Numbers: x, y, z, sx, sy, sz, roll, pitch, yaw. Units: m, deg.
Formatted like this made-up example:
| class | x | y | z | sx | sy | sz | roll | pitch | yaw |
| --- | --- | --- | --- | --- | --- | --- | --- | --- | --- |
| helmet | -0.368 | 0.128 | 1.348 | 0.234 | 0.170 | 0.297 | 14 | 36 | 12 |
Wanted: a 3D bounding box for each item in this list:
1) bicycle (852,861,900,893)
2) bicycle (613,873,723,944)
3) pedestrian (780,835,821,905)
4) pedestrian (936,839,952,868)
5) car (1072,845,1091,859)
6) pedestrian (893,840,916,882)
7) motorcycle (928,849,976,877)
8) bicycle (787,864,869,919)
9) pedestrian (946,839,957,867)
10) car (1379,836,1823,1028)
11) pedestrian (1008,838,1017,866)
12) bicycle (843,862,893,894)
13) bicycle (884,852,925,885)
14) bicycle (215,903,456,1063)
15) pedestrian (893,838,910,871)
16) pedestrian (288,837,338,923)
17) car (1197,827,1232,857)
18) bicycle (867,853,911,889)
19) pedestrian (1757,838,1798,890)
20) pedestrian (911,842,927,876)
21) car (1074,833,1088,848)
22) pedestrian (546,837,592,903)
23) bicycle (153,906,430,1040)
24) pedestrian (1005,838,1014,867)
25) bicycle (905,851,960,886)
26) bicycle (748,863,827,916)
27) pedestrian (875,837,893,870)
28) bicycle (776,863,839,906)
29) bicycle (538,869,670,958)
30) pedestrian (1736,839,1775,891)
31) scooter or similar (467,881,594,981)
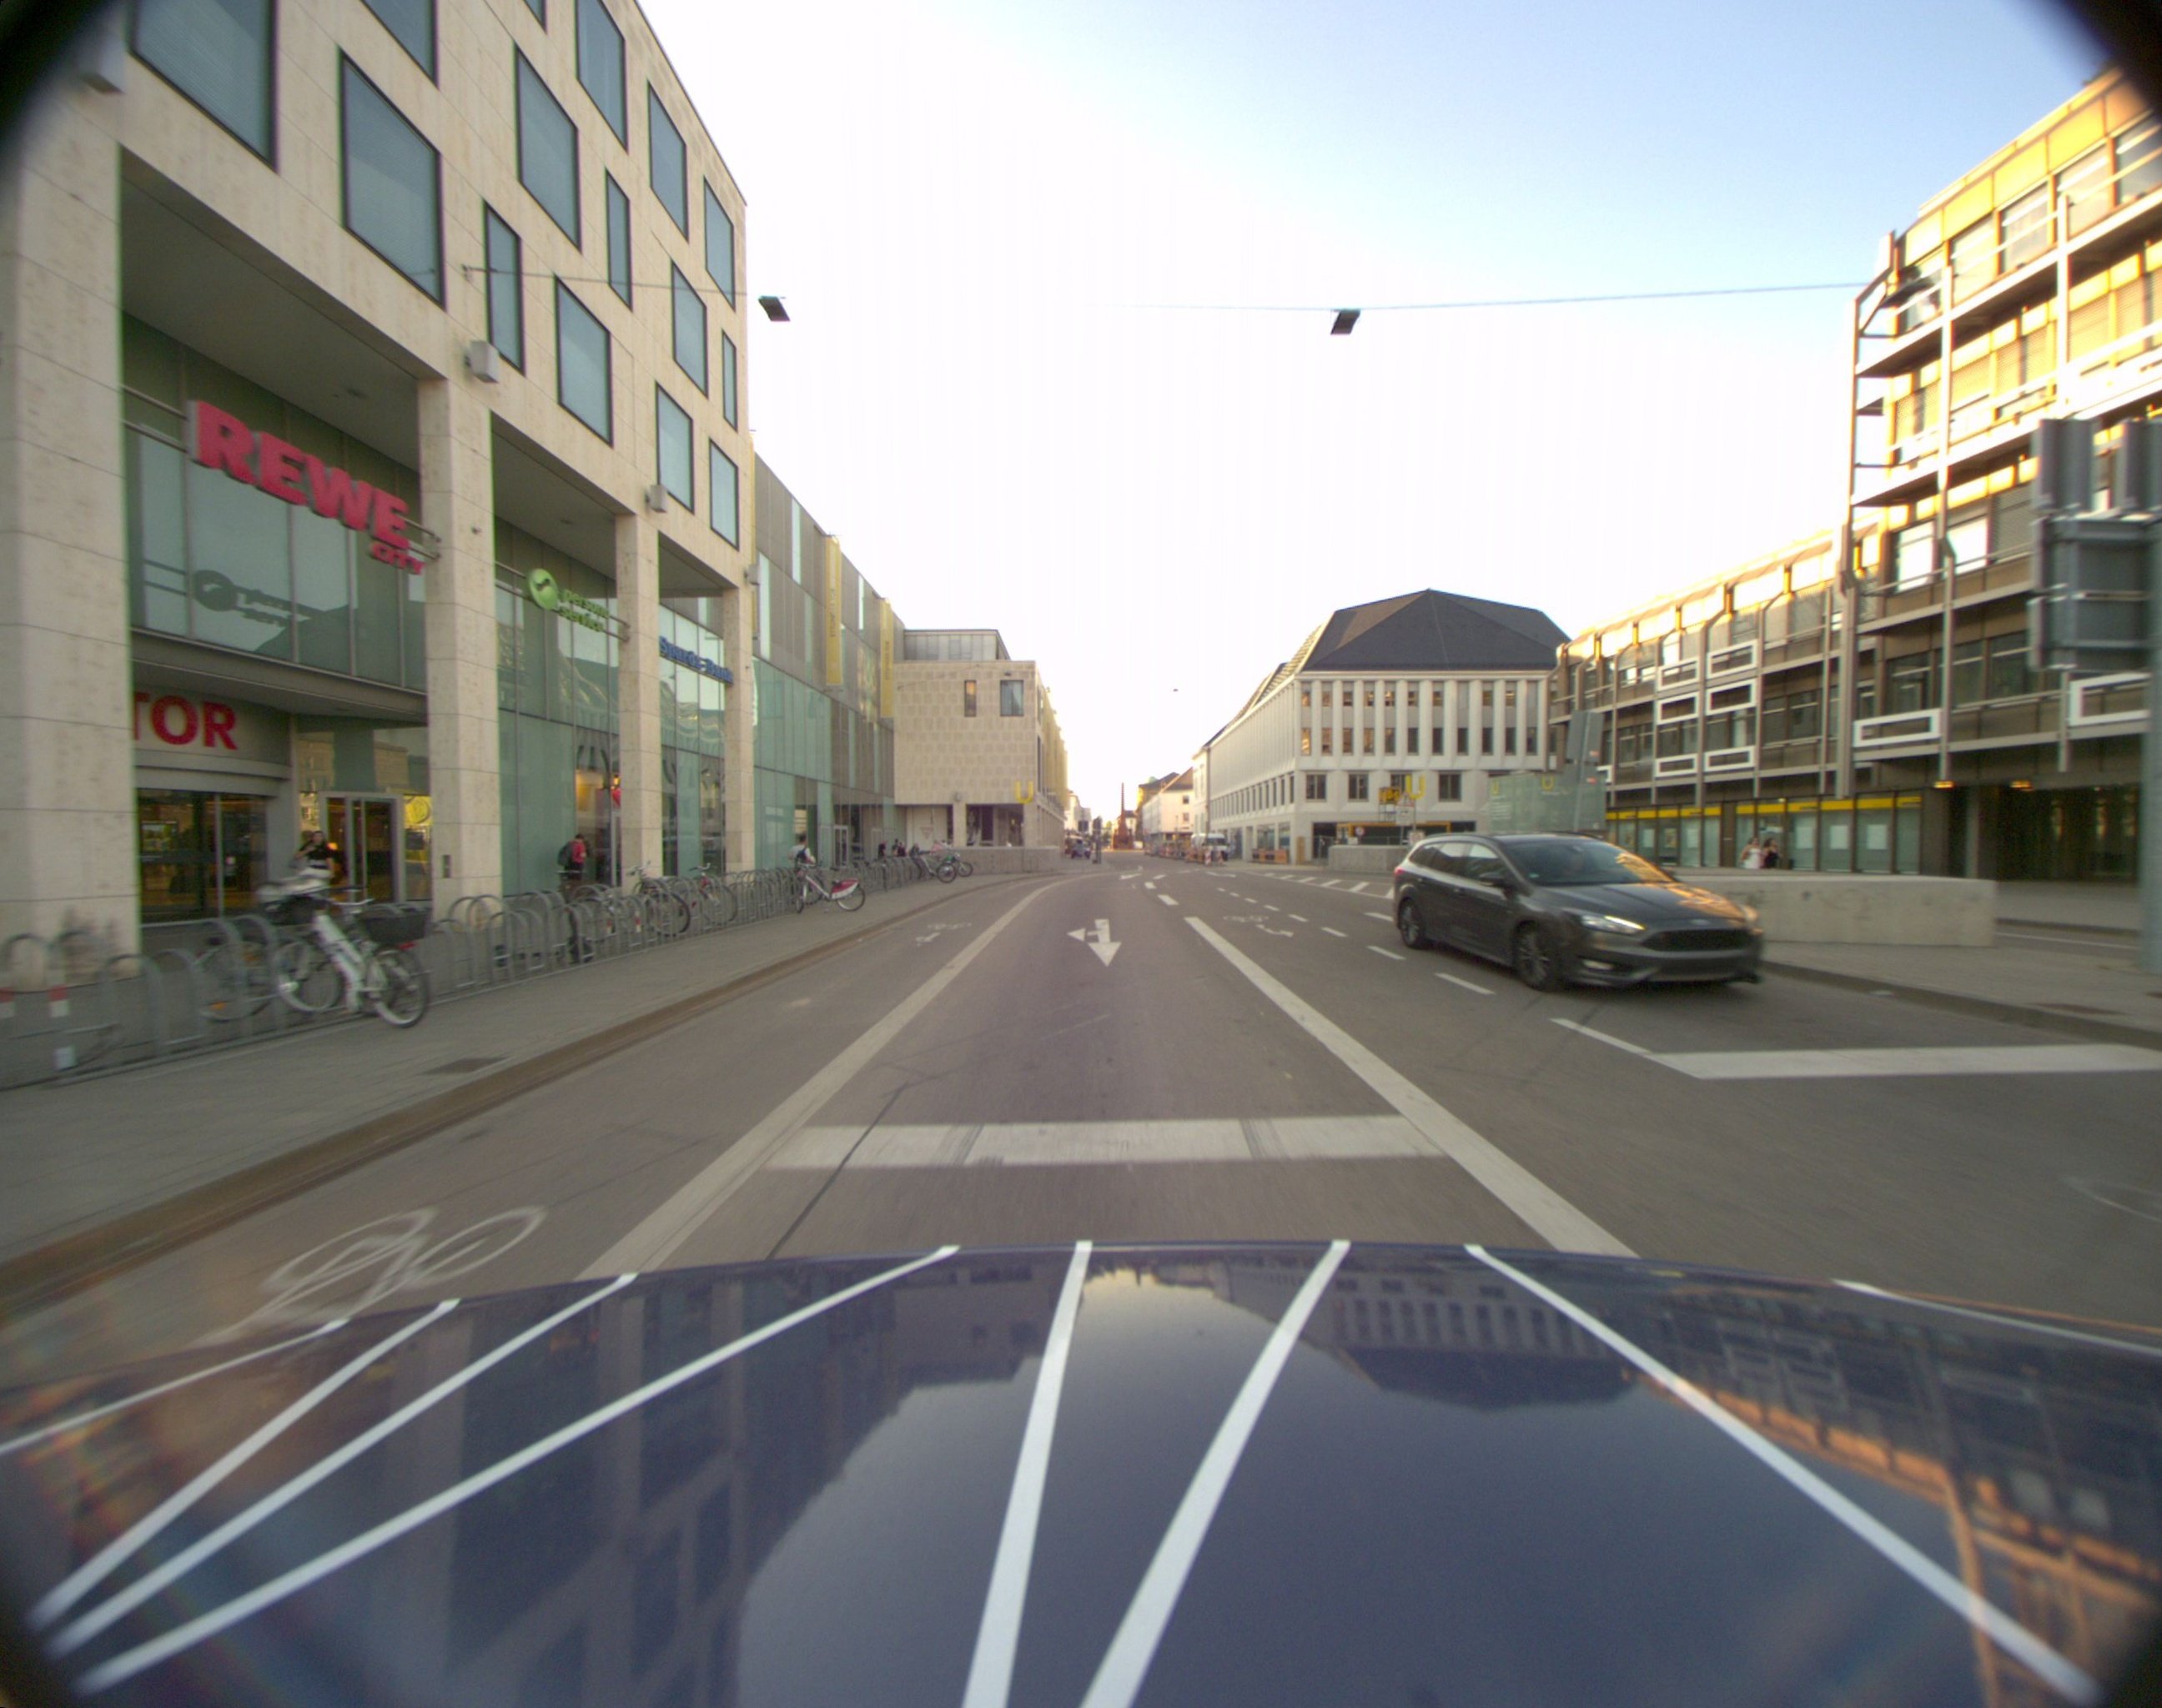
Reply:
| class | x | y | z | sx | sy | sz | roll | pitch | yaw |
| --- | --- | --- | --- | --- | --- | --- | --- | --- | --- |
| bicycle | -6.540 | 0.733 | 24.225 | 1.345 | 0.927 | 0.518 | -3 | 1 | -1 |
| bicycle | -7.069 | 0.920 | 13.054 | 1.519 | 1.099 | 0.552 | -3 | 1 | -2 |
| pedestrian | -6.887 | 0.373 | 18.690 | 0.628 | 1.683 | 0.708 | 0 | 2 | 16 |
| pedestrian | -8.142 | -0.045 | 45.328 | 0.793 | 1.734 | 0.656 | 0 | 2 | 3 |
| car | 0.097 | -0.238 | 76.904 | 1.798 | 1.365 | 3.670 | 0 | 1 | 2 |
| pedestrian | -6.973 | 0.249 | 30.030 | 0.809 | 1.633 | 0.645 | -1 | 2 | -18 |
| motorcycle | -5.638 | 0.388 | 33.237 | 2.007 | 1.217 | 0.480 | 0 | 2 | -3 |
| bicycle | -5.335 | 0.785 | 16.049 | 1.518 | 1.057 | 0.466 | -3 | 1 | 1 |
| pedestrian | -7.846 | -0.072 | 46.117 | 0.494 | 1.734 | 0.656 | 0 | 2 | 3 |
| car | 4.967 | 0.572 | 8.177 | 1.762 | 1.454 | 4.379 | -2 | 1 | 0 |
| pedestrian | -4.228 | -0.124 | 46.986 | 0.516 | 1.734 | 0.492 | 0 | 2 | 3 |
| bicycle | -6.598 | 0.740 | 23.580 | 1.345 | 0.927 | 0.518 | -3 | 1 | -1 |
| bicycle | -6.549 | 0.539 | 28.235 | 1.345 | 1.157 | 0.518 | -3 | 1 | -1 |
| bicycle | -6.030 | 1.014 | 6.178 | 1.482 | 1.177 | 0.548 | 0 | 1 | 6 |
| pedestrian | -9.192 | 0.010 | 38.934 | 0.698 | 1.686 | 0.820 | 0 | 2 | -3 |
| pedestrian | -15.070 | 0.485 | 14.928 | 0.631 | 1.642 | 0.706 | -2 | 2 | -44 |
| car | 11.967 | -1.081 | 68.363 | 2.141 | 2.541 | 6.049 | 0 | 1 | 1 |
| bicycle | -6.604 | 0.566 | 26.150 | 1.345 | 1.157 | 0.518 | -3 | 1 | -1 |
| pedestrian | 21.808 | 0.301 | 23.795 | 0.616 | 1.630 | 0.702 | 0 | 2 | 1 |
| pedestrian | -8.528 | 0.247 | 40.005 | 0.619 | 1.770 | 0.812 | 0 | 2 | 3 |
| car | 0.011 | -1.919 | 109.042 | 1.798 | 2.199 | 3.670 | 0 | 1 | 2 |
| pedestrian | -12.924 | 0.400 | 19.197 | 0.629 | 1.642 | 0.708 | 0 | 2 | 2 |
| bicycle | -6.945 | 1.026 | 6.745 | 1.774 | 1.072 | 0.482 | 0 | 2 | -7 |
| pedestrian | -4.303 | -0.080 | 45.717 | 0.454 | 1.734 | 0.492 | 0 | 2 | 3 |
| bicycle | -5.334 | 0.522 | 27.391 | 1.838 | 1.140 | 0.466 | -3 | 1 | 1 |
| bicycle | -6.737 | 0.814 | 17.470 | 1.518 | 1.118 | 0.580 | -3 | 1 | 4 |
| pedestrian | -10.064 | -0.034 | 38.839 | 0.740 | 1.638 | 0.820 | 0 | 2 | -3 |
| bicycle | -7.244 | 0.797 | 20.150 | 1.447 | 1.059 | 0.580 | -3 | 1 | -10 |
| bicycle | -7.144 | 0.881 | 11.435 | 1.518 | 1.220 | 0.618 | -3 | 1 | 0 |
| pedestrian | 21.149 | 0.336 | 23.829 | 0.670 | 1.630 | 0.584 | 0 | 2 | 1 |
| scooter or similar | -6.913 | 0.948 | 9.579 | 1.197 | 1.192 | 0.492 | 0 | 1 | -4 |
